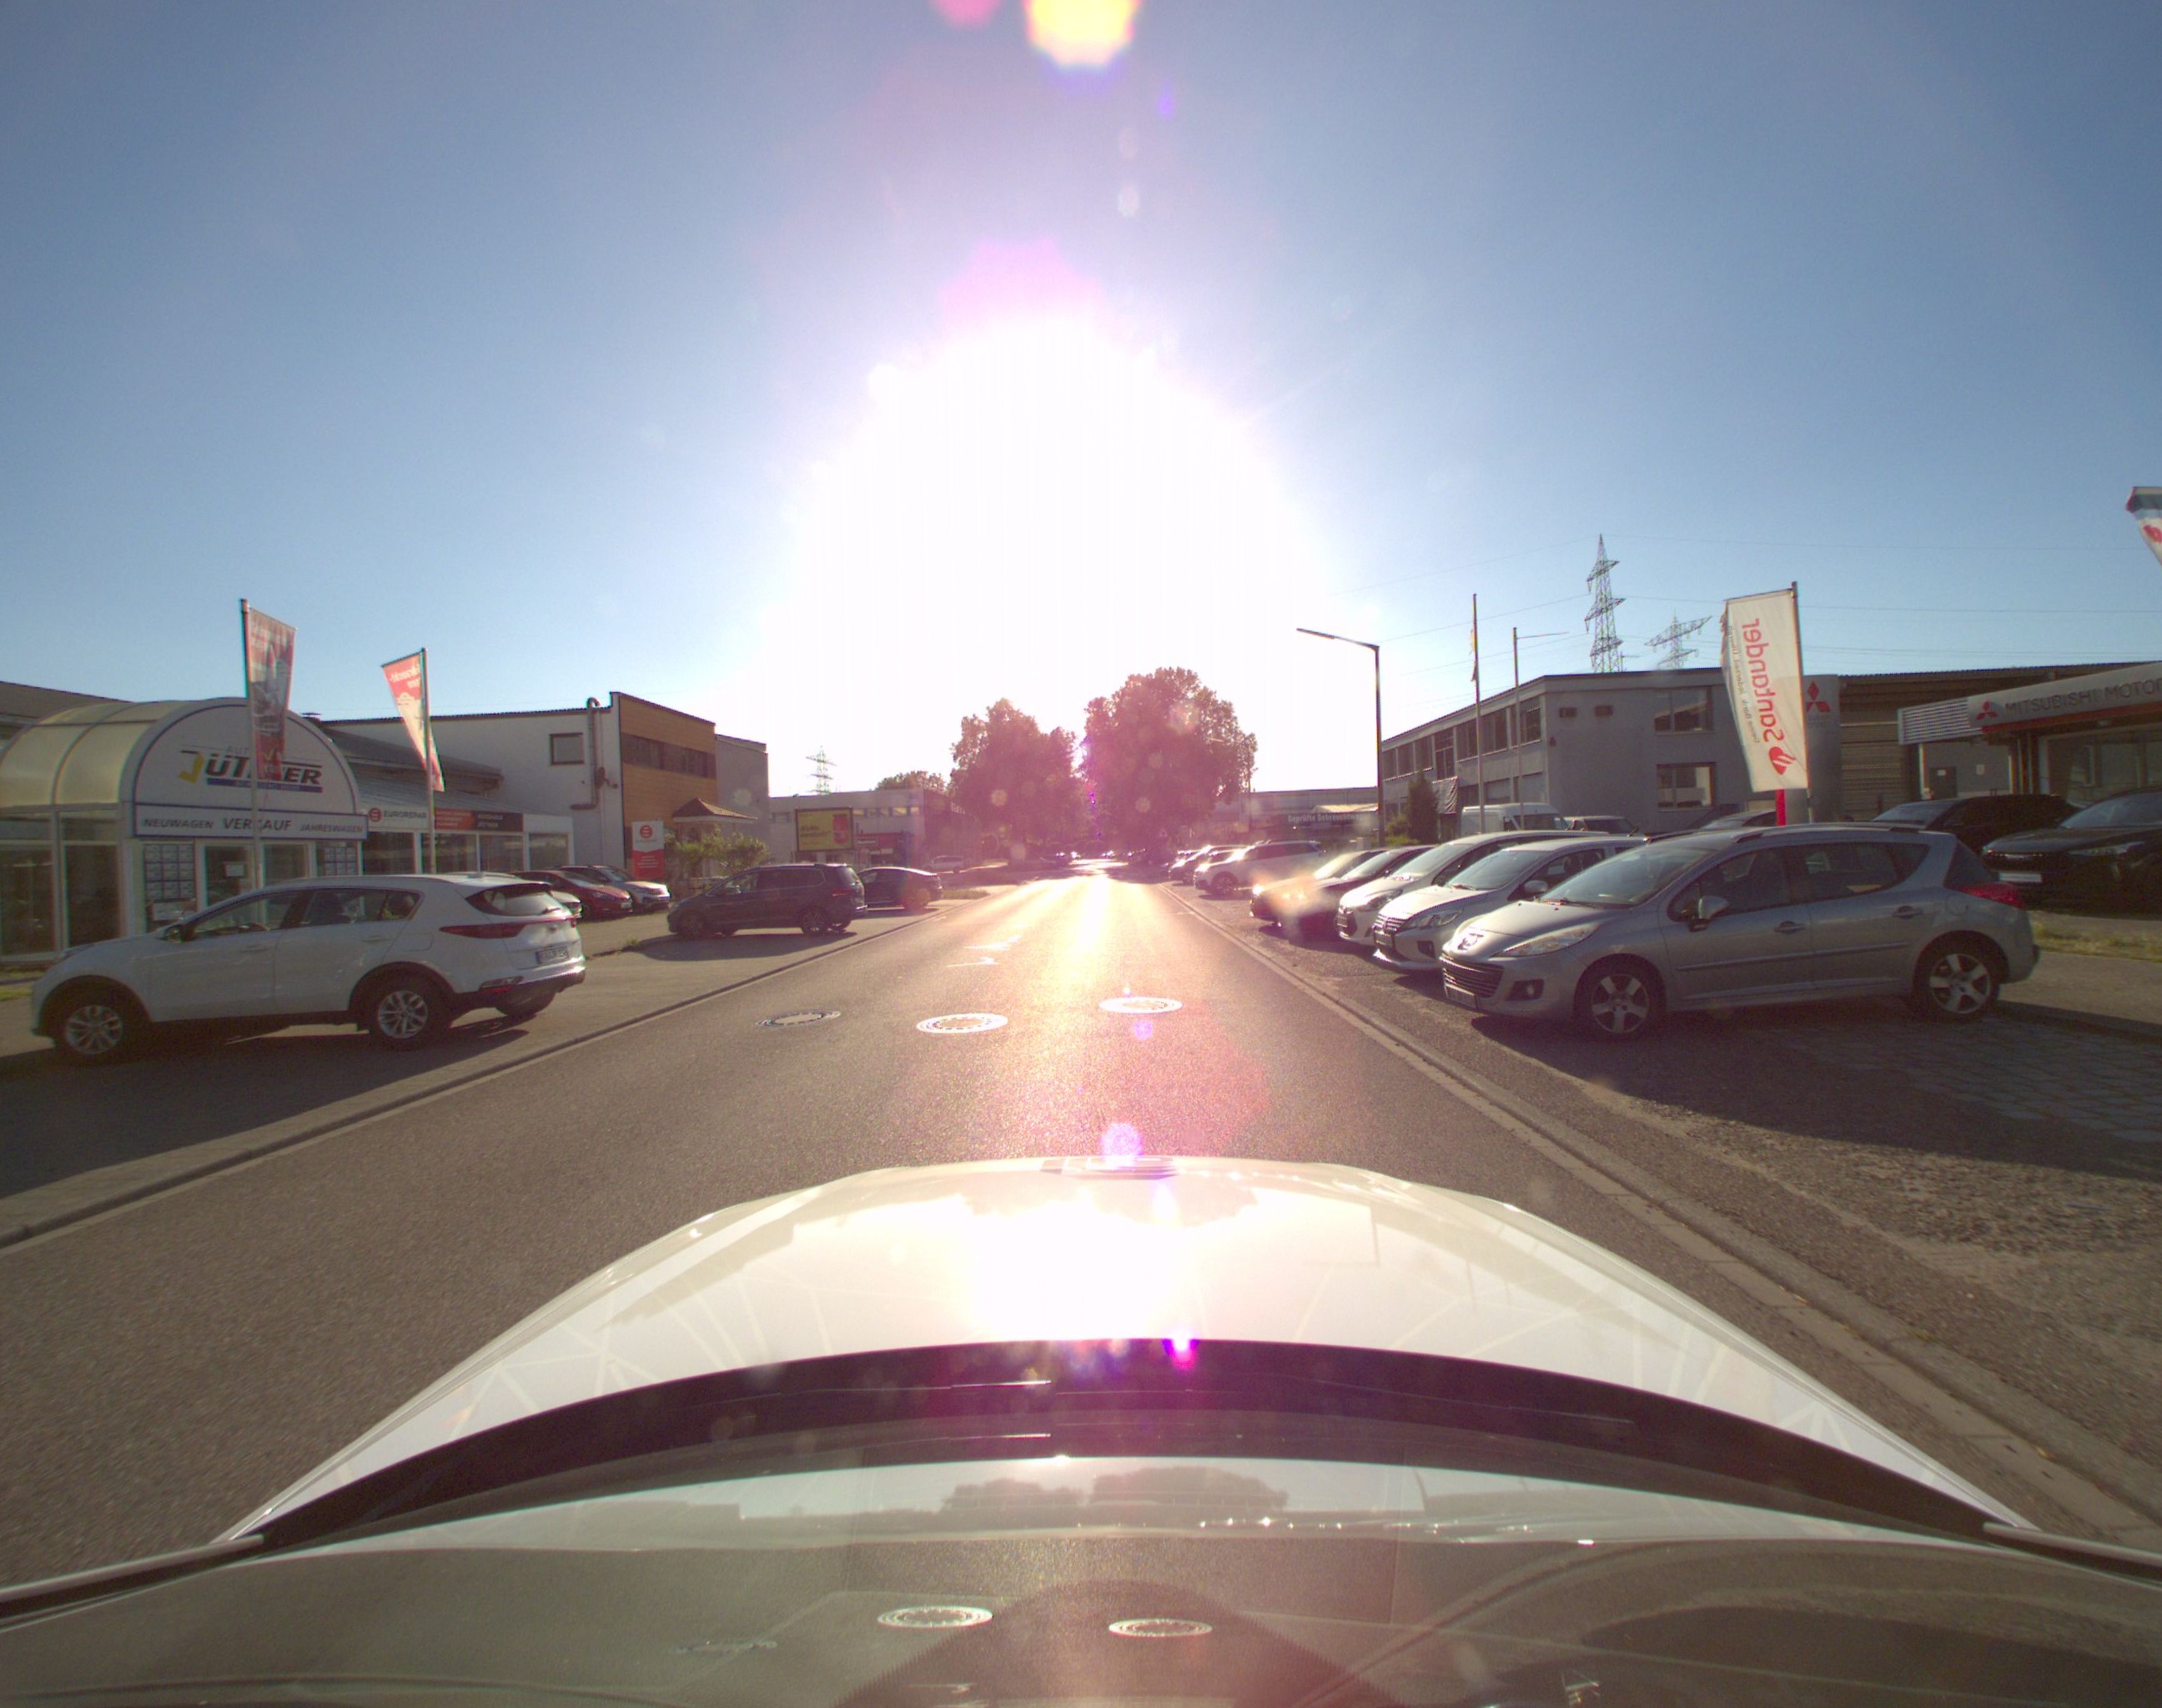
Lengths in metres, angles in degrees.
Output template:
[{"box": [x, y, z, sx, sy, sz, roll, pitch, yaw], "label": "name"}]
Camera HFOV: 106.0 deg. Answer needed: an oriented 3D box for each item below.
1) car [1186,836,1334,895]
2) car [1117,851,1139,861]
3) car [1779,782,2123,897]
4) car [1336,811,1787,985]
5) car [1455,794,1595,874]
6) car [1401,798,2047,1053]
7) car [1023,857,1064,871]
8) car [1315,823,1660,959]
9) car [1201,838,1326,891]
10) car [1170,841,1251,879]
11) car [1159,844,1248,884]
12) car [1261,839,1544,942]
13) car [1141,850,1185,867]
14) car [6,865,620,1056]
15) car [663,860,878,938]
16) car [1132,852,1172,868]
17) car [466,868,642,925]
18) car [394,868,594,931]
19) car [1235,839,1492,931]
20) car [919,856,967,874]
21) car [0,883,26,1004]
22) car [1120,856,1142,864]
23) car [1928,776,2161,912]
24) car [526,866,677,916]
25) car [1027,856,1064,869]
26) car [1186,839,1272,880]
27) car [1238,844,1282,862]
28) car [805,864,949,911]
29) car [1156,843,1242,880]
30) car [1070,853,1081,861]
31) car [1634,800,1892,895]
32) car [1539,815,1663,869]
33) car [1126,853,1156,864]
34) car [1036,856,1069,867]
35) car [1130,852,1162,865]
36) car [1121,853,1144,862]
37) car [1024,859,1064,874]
[{"box": [6.144, 0.395, 28.336, 4.542, 1.597, 2.201, -5, -1, -1], "label": "car"}, {"box": [8.995, 0.358, 155.408, 3.972, 1.777, 1.827, -3, -1, 1], "label": "car"}, {"box": [15.590, -0.235, 14.800, 3.972, 1.659, 2.001, -4, -1, 2], "label": "car"}, {"box": [5.424, 0.461, 9.638, 4.098, 1.618, 2.057, -3, 0, -2], "label": "car"}, {"box": [16.206, -0.659, 30.215, 1.986, 2.625, 6.139, -1, 0, 2], "label": "car"}, {"box": [5.092, 0.514, 6.880, 3.977, 1.588, 1.866, -4, 0, -2], "label": "car"}, {"box": [-4.086, 1.077, 89.025, 4.406, 1.403, 1.997, -1, 0, -4], "label": "car"}, {"box": [5.734, 0.490, 11.855, 4.098, 1.740, 1.882, -1, -1, -2], "label": "car"}, {"box": [6.847, 0.388, 30.909, 4.234, 1.623, 1.921, -4, -1, 0], "label": "car"}, {"box": [6.884, 0.335, 43.547, 3.975, 1.652, 1.742, -5, -1, -1], "label": "car"}, {"box": [5.770, 0.471, 38.406, 3.964, 1.613, 2.005, -4, -1, 8], "label": "car"}, {"box": [5.460, 0.595, 14.155, 4.232, 1.605, 1.744, -1, -1, -3], "label": "car"}, {"box": [7.681, 0.407, 76.550, 3.972, 1.415, 2.001, -3, -1, 1], "label": "car"}, {"box": [-7.658, 0.983, 8.579, 4.290, 1.656, 2.201, -1, -1, -1], "label": "car"}, {"box": [-7.225, 1.022, 19.342, 4.219, 1.655, 2.201, -1, -1, -1], "label": "car"}, {"box": [7.326, 0.600, 83.903, 3.972, 1.415, 1.827, -3, -1, 1], "label": "car"}, {"box": [-15.809, 1.248, 24.587, 3.972, 1.555, 2.001, -1, -1, 1], "label": "car"}, {"box": [-15.849, 1.199, 22.152, 3.972, 1.555, 2.001, -1, -1, 1], "label": "car"}, {"box": [5.536, 0.583, 16.463, 4.421, 1.436, 2.136, -4, 0, 1], "label": "car"}, {"box": [-14.049, 1.119, 82.831, 4.636, 1.741, 1.990, -1, -1, -14], "label": "car"}, {"box": [-16.255, 1.199, 9.885, 4.449, 1.553, 1.836, -1, -1, 0], "label": "car"}, {"box": [9.217, 1.129, 151.623, 3.972, 1.415, 1.827, -3, -1, 1], "label": "car"}, {"box": [15.152, -0.229, 11.589, 3.972, 1.697, 2.001, -4, -1, 2], "label": "car"}, {"box": [-15.888, 1.204, 27.119, 3.896, 1.556, 1.888, -1, -1, 1], "label": "car"}, {"box": [-4.365, 1.098, 101.809, 4.397, 1.517, 2.002, -1, -1, 3], "label": "car"}, {"box": [7.480, 0.264, 41.403, 3.972, 1.652, 1.802, -6, -1, 2], "label": "car"}, {"box": [17.951, -0.128, 81.948, 3.973, 1.700, 2.000, -1, -1, 0], "label": "car"}, {"box": [-6.829, 1.098, 27.673, 4.301, 1.460, 2.201, -1, -1, -1], "label": "car"}, {"box": [6.612, 0.410, 46.036, 4.512, 1.672, 1.752, -4, 0, -2], "label": "car"}, {"box": [-1.095, 0.574, 164.501, 1.986, 1.608, 4.002, 0, 0, 2], "label": "car"}, {"box": [15.530, -0.137, 18.749, 4.128, 1.771, 2.001, -4, -1, 1], "label": "car"}, {"box": [18.672, -0.397, 29.490, 1.986, 1.799, 4.002, -1, 0, 2], "label": "car"}, {"box": [8.092, 0.622, 110.764, 3.972, 1.381, 1.827, -3, -1, 1], "label": "car"}, {"box": [-3.936, 1.040, 112.451, 4.397, 1.517, 2.002, -1, -1, 3], "label": "car"}, {"box": [8.342, 0.560, 104.776, 3.972, 1.415, 1.827, -3, -1, 1], "label": "car"}, {"box": [8.797, 0.609, 139.384, 3.972, 1.415, 1.827, -3, -1, 1], "label": "car"}, {"box": [-4.134, 1.381, 91.204, 4.401, 1.517, 2.000, -1, -1, 0], "label": "car"}]
